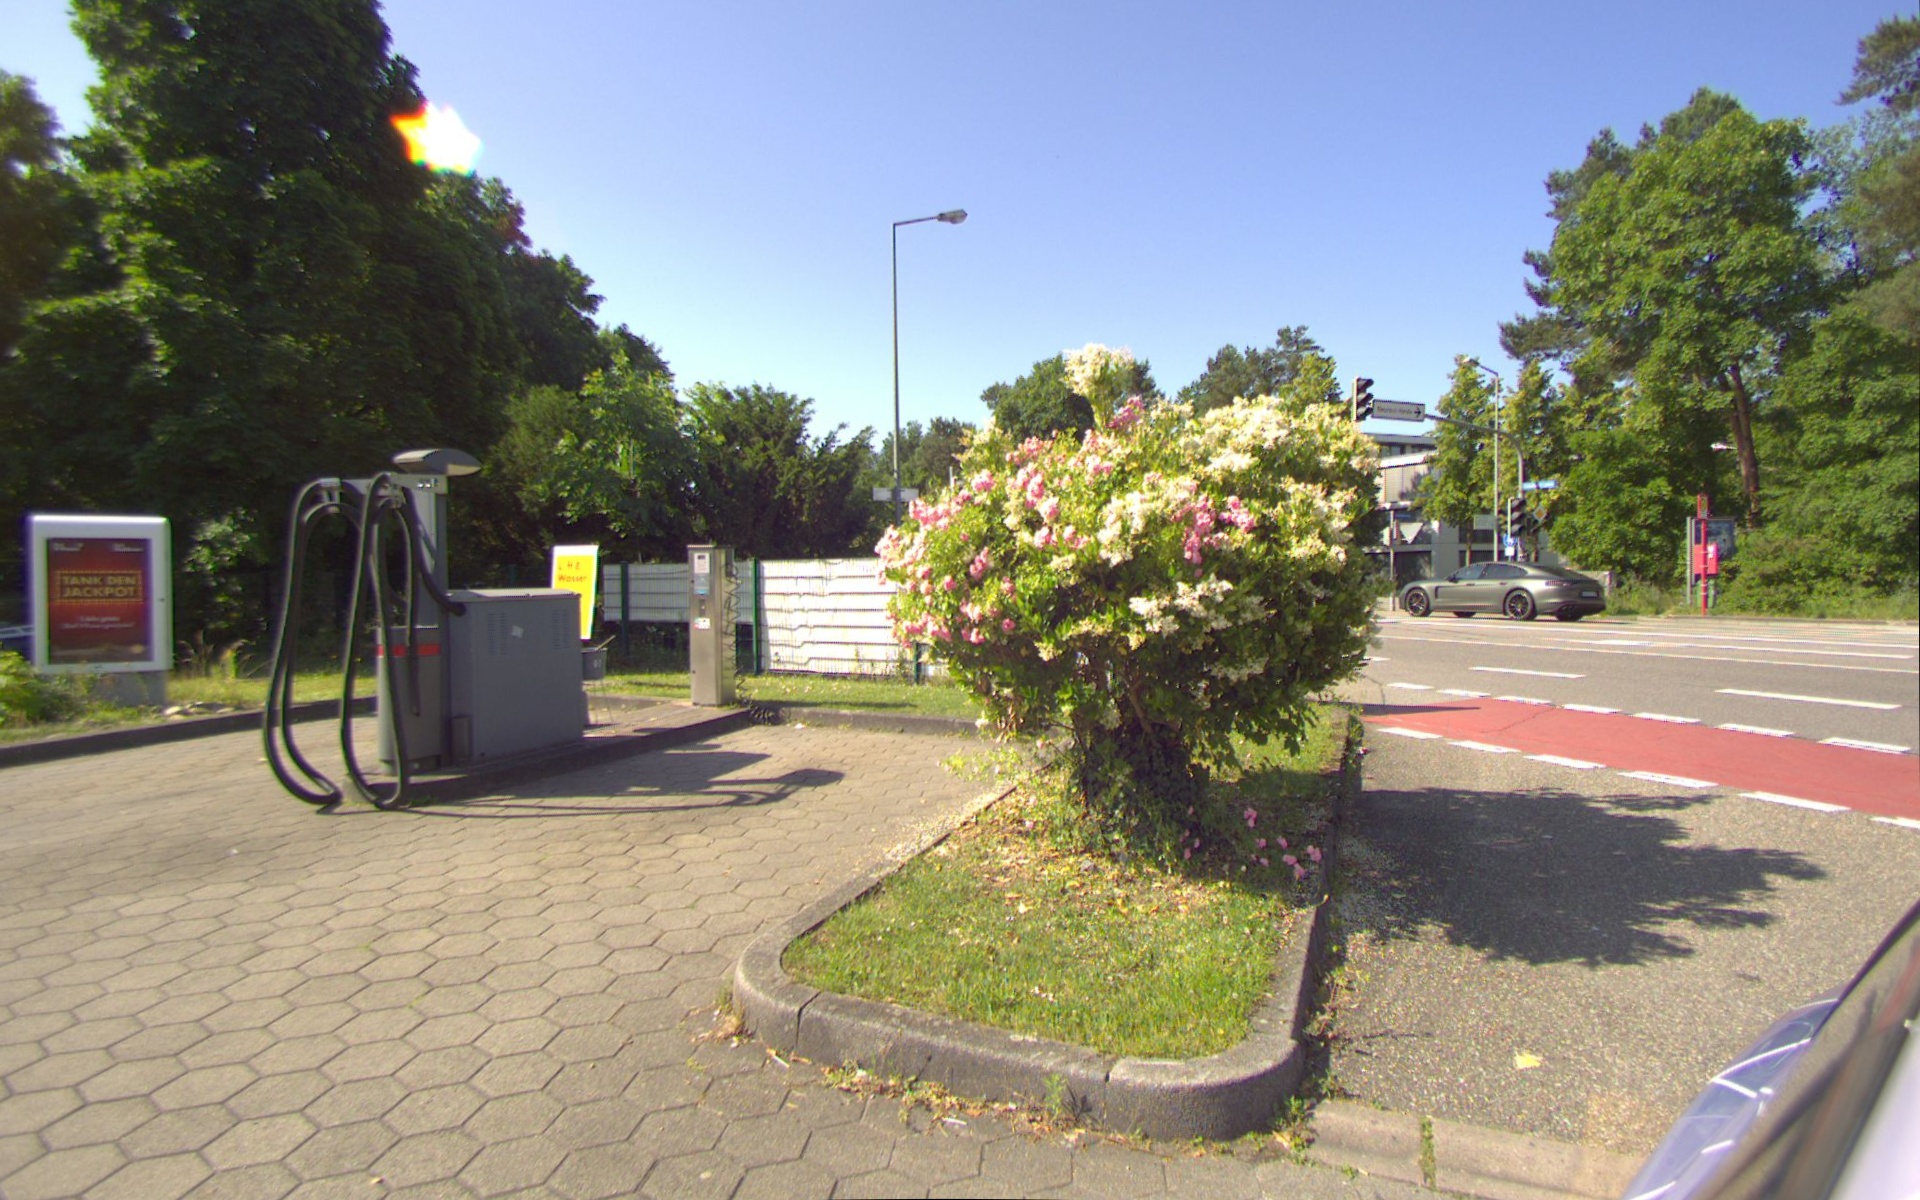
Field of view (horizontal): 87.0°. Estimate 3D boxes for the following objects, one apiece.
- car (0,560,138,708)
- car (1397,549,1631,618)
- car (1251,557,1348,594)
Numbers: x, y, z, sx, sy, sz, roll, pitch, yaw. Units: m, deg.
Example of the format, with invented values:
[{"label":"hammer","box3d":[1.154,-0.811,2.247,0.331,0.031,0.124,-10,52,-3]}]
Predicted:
[{"label":"car","box3d":[-11.423,0.333,12.031,1.649,1.530,3.947,-1,2,-26]},{"label":"car","box3d":[13.327,-0.425,24.730,1.814,1.514,4.922,0,1,-23]},{"label":"car","box3d":[17.045,-1.234,50.830,4.564,1.800,1.856,0,1,-23]}]
